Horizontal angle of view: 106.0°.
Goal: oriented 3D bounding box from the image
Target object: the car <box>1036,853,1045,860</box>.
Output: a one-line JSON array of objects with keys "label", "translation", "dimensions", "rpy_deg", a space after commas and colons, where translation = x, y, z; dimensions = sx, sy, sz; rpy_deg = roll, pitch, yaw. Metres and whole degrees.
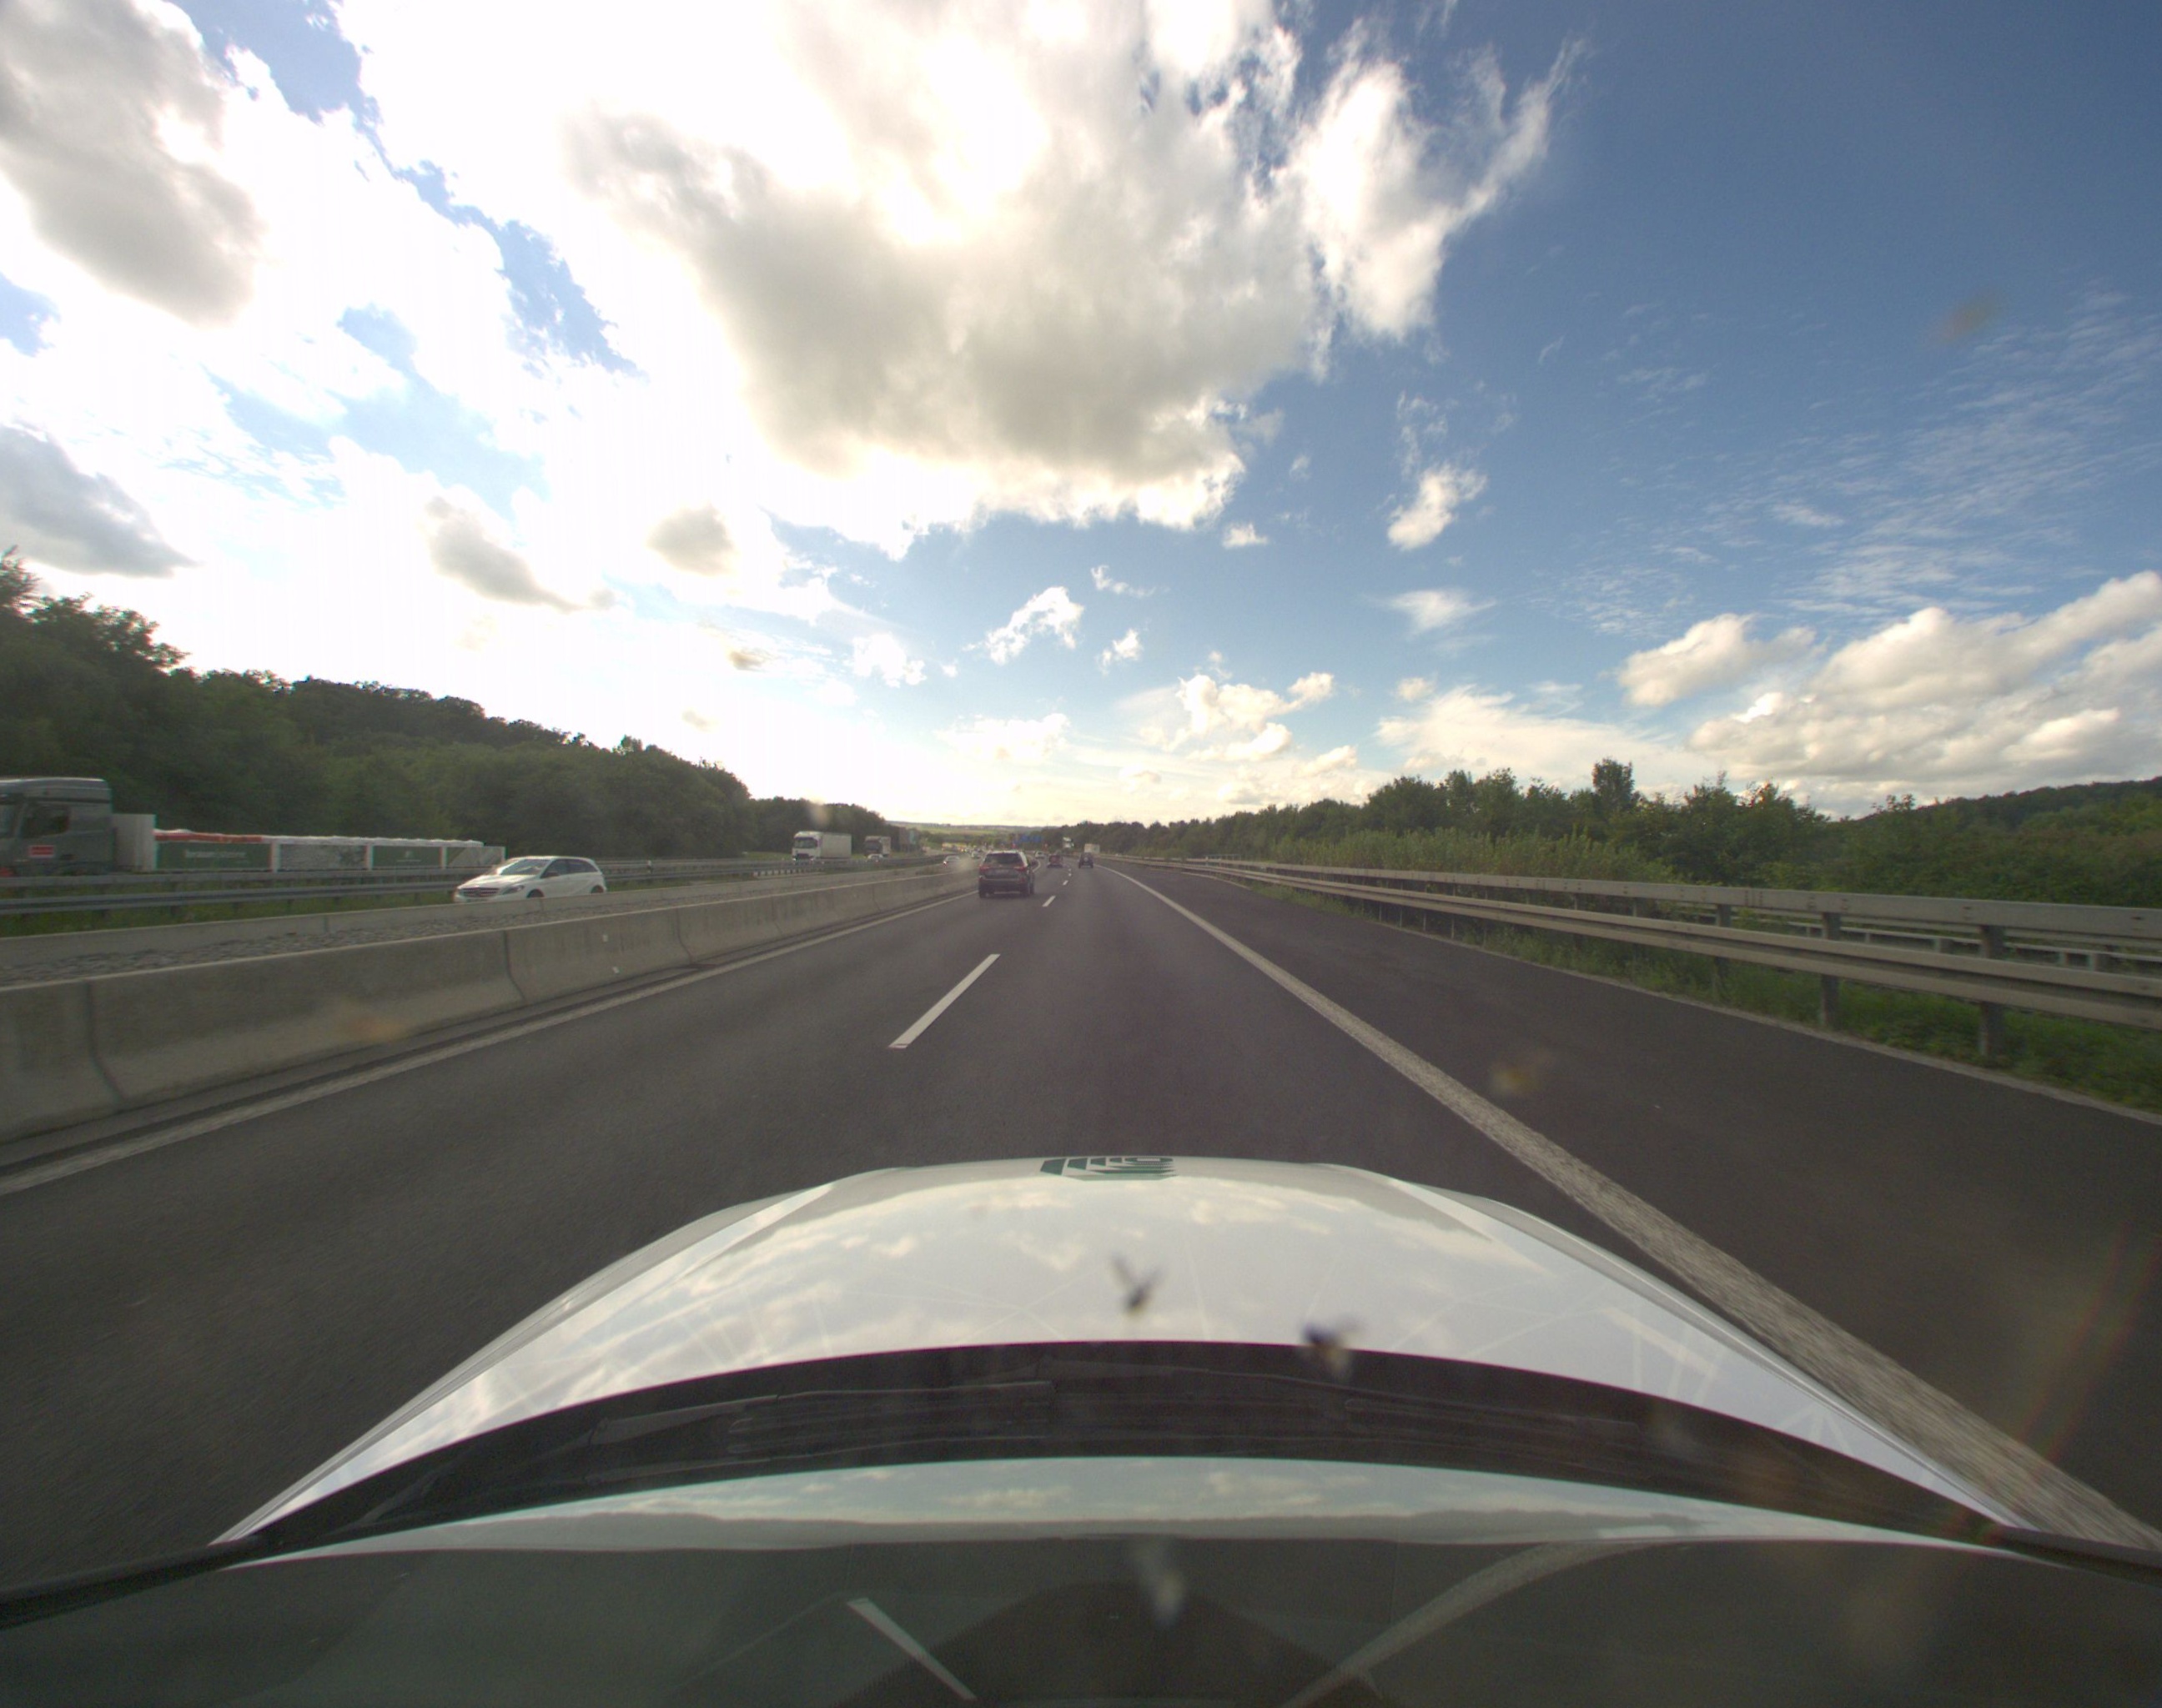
[{"label": "car", "translation": [-9.629, 0.555, 193.574], "dimensions": [1.990, 1.684, 3.992], "rpy_deg": [0, -1, -5]}]

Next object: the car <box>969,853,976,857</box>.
[{"label": "car", "translation": [-33.680, 0.286, 251.924], "dimensions": [1.865, 1.337, 4.223], "rpy_deg": [-1, 0, -4]}]

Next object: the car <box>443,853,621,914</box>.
[{"label": "car", "translation": [-15.207, 0.793, 22.951], "dimensions": [1.706, 1.528, 4.767], "rpy_deg": [0, -1, 1]}]

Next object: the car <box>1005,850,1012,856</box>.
[{"label": "car", "translation": [-19.501, -0.269, 218.643], "dimensions": [1.883, 1.703, 4.958], "rpy_deg": [-1, 0, -5]}]

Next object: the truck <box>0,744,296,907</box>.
[{"label": "truck", "translation": [-26.716, -0.666, 22.695], "dimensions": [2.801, 3.826, 7.125], "rpy_deg": [0, 0, -1]}]

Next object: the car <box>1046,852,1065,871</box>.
[{"label": "car", "translation": [-2.987, 0.897, 95.316], "dimensions": [2.023, 2.151, 4.001], "rpy_deg": [0, 0, 1]}]

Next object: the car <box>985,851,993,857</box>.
[{"label": "car", "translation": [-23.983, 0.071, 212.148], "dimensions": [1.883, 1.610, 4.958], "rpy_deg": [-1, 0, -5]}]

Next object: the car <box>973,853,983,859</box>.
[{"label": "car", "translation": [-24.704, 0.472, 194.717], "dimensions": [1.989, 1.402, 4.807], "rpy_deg": [-1, 0, -4]}]

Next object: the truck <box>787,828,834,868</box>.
[{"label": "truck", "translation": [-30.464, -0.594, 91.967], "dimensions": [3.314, 4.293, 6.739], "rpy_deg": [0, -1, -3]}]

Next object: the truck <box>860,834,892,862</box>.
[{"label": "truck", "translation": [-31.199, -0.890, 124.457], "dimensions": [2.896, 3.969, 10.449], "rpy_deg": [0, -1, -4]}]

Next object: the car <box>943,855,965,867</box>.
[{"label": "car", "translation": [-15.476, 0.888, 99.659], "dimensions": [1.868, 1.447, 5.121], "rpy_deg": [0, -1, 0]}]

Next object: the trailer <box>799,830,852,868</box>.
[{"label": "trailer", "translation": [-30.836, -0.448, 98.877], "dimensions": [3.314, 4.293, 12.123], "rpy_deg": [0, -1, -3]}]

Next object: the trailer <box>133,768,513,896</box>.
[{"label": "trailer", "translation": [-26.776, -0.640, 30.317], "dimensions": [2.804, 3.807, 12.184], "rpy_deg": [0, 0, 0]}]

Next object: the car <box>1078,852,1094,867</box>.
[{"label": "car", "translation": [0.525, 0.599, 90.829], "dimensions": [1.583, 1.597, 4.092], "rpy_deg": [0, 0, -2]}]

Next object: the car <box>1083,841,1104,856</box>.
[{"label": "car", "translation": [3.835, -1.515, 250.134], "dimensions": [4.727, 4.266, 11.367], "rpy_deg": [0, -1, -9]}]

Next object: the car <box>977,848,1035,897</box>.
[{"label": "car", "translation": [-2.821, 0.671, 31.766], "dimensions": [1.812, 1.736, 5.185], "rpy_deg": [0, 0, 0]}]
